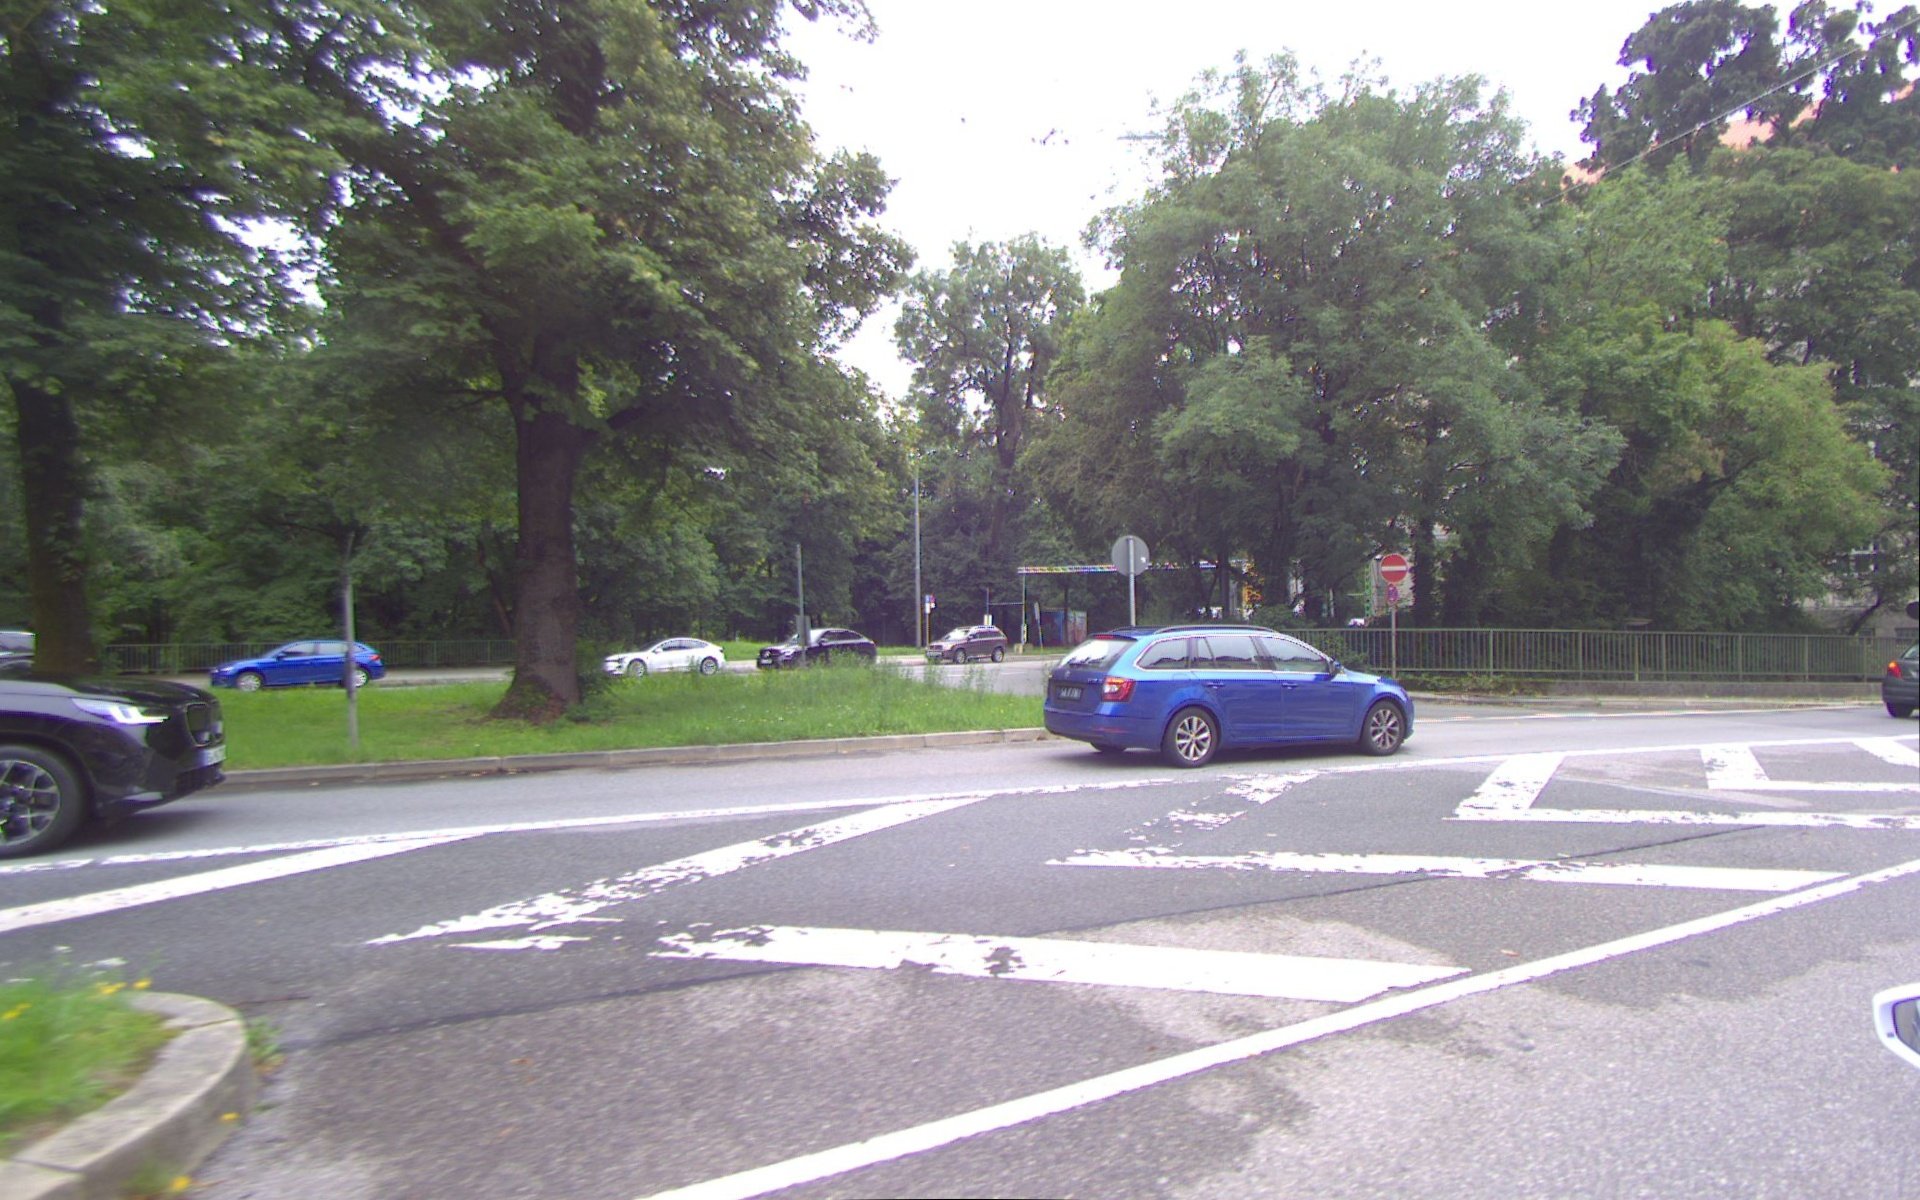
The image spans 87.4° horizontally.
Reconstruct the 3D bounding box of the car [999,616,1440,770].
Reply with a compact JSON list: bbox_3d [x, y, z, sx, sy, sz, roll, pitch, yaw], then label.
[{"bbox_3d":[2.962,0.955,11.468,4.667,1.473,1.983,1,-2,-24],"label":"car"}]

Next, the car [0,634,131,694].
[{"bbox_3d":[-24.122,1.619,25.467,4.733,1.465,1.976,2,-4,-42],"label":"car"}]

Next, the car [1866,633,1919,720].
[{"bbox_3d":[18.153,1.316,17.699,4.017,1.480,1.755,1,-2,-24],"label":"car"}]

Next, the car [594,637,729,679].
[{"bbox_3d":[-11.008,2.111,37.197,4.392,1.465,1.975,2,-4,-43],"label":"car"}]

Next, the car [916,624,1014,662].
[{"bbox_3d":[0.275,2.058,48.329,4.615,1.740,1.975,2,-4,-43],"label":"car"}]

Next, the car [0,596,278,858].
[{"bbox_3d":[-7.498,0.824,6.515,4.763,1.607,1.909,1,-4,-24],"label":"car"}]

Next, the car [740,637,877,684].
[{"bbox_3d":[-5.142,2.039,34.454,4.357,1.465,1.874,1,-3,-43],"label":"car"}]

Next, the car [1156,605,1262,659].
[{"bbox_3d":[11.472,1.476,46.083,5.092,2.299,2.280,2,-3,-43],"label":"car"}]

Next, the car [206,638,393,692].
[{"bbox_3d":[-19.513,1.895,29.789,4.392,1.465,1.975,2,-4,-43],"label":"car"}]
